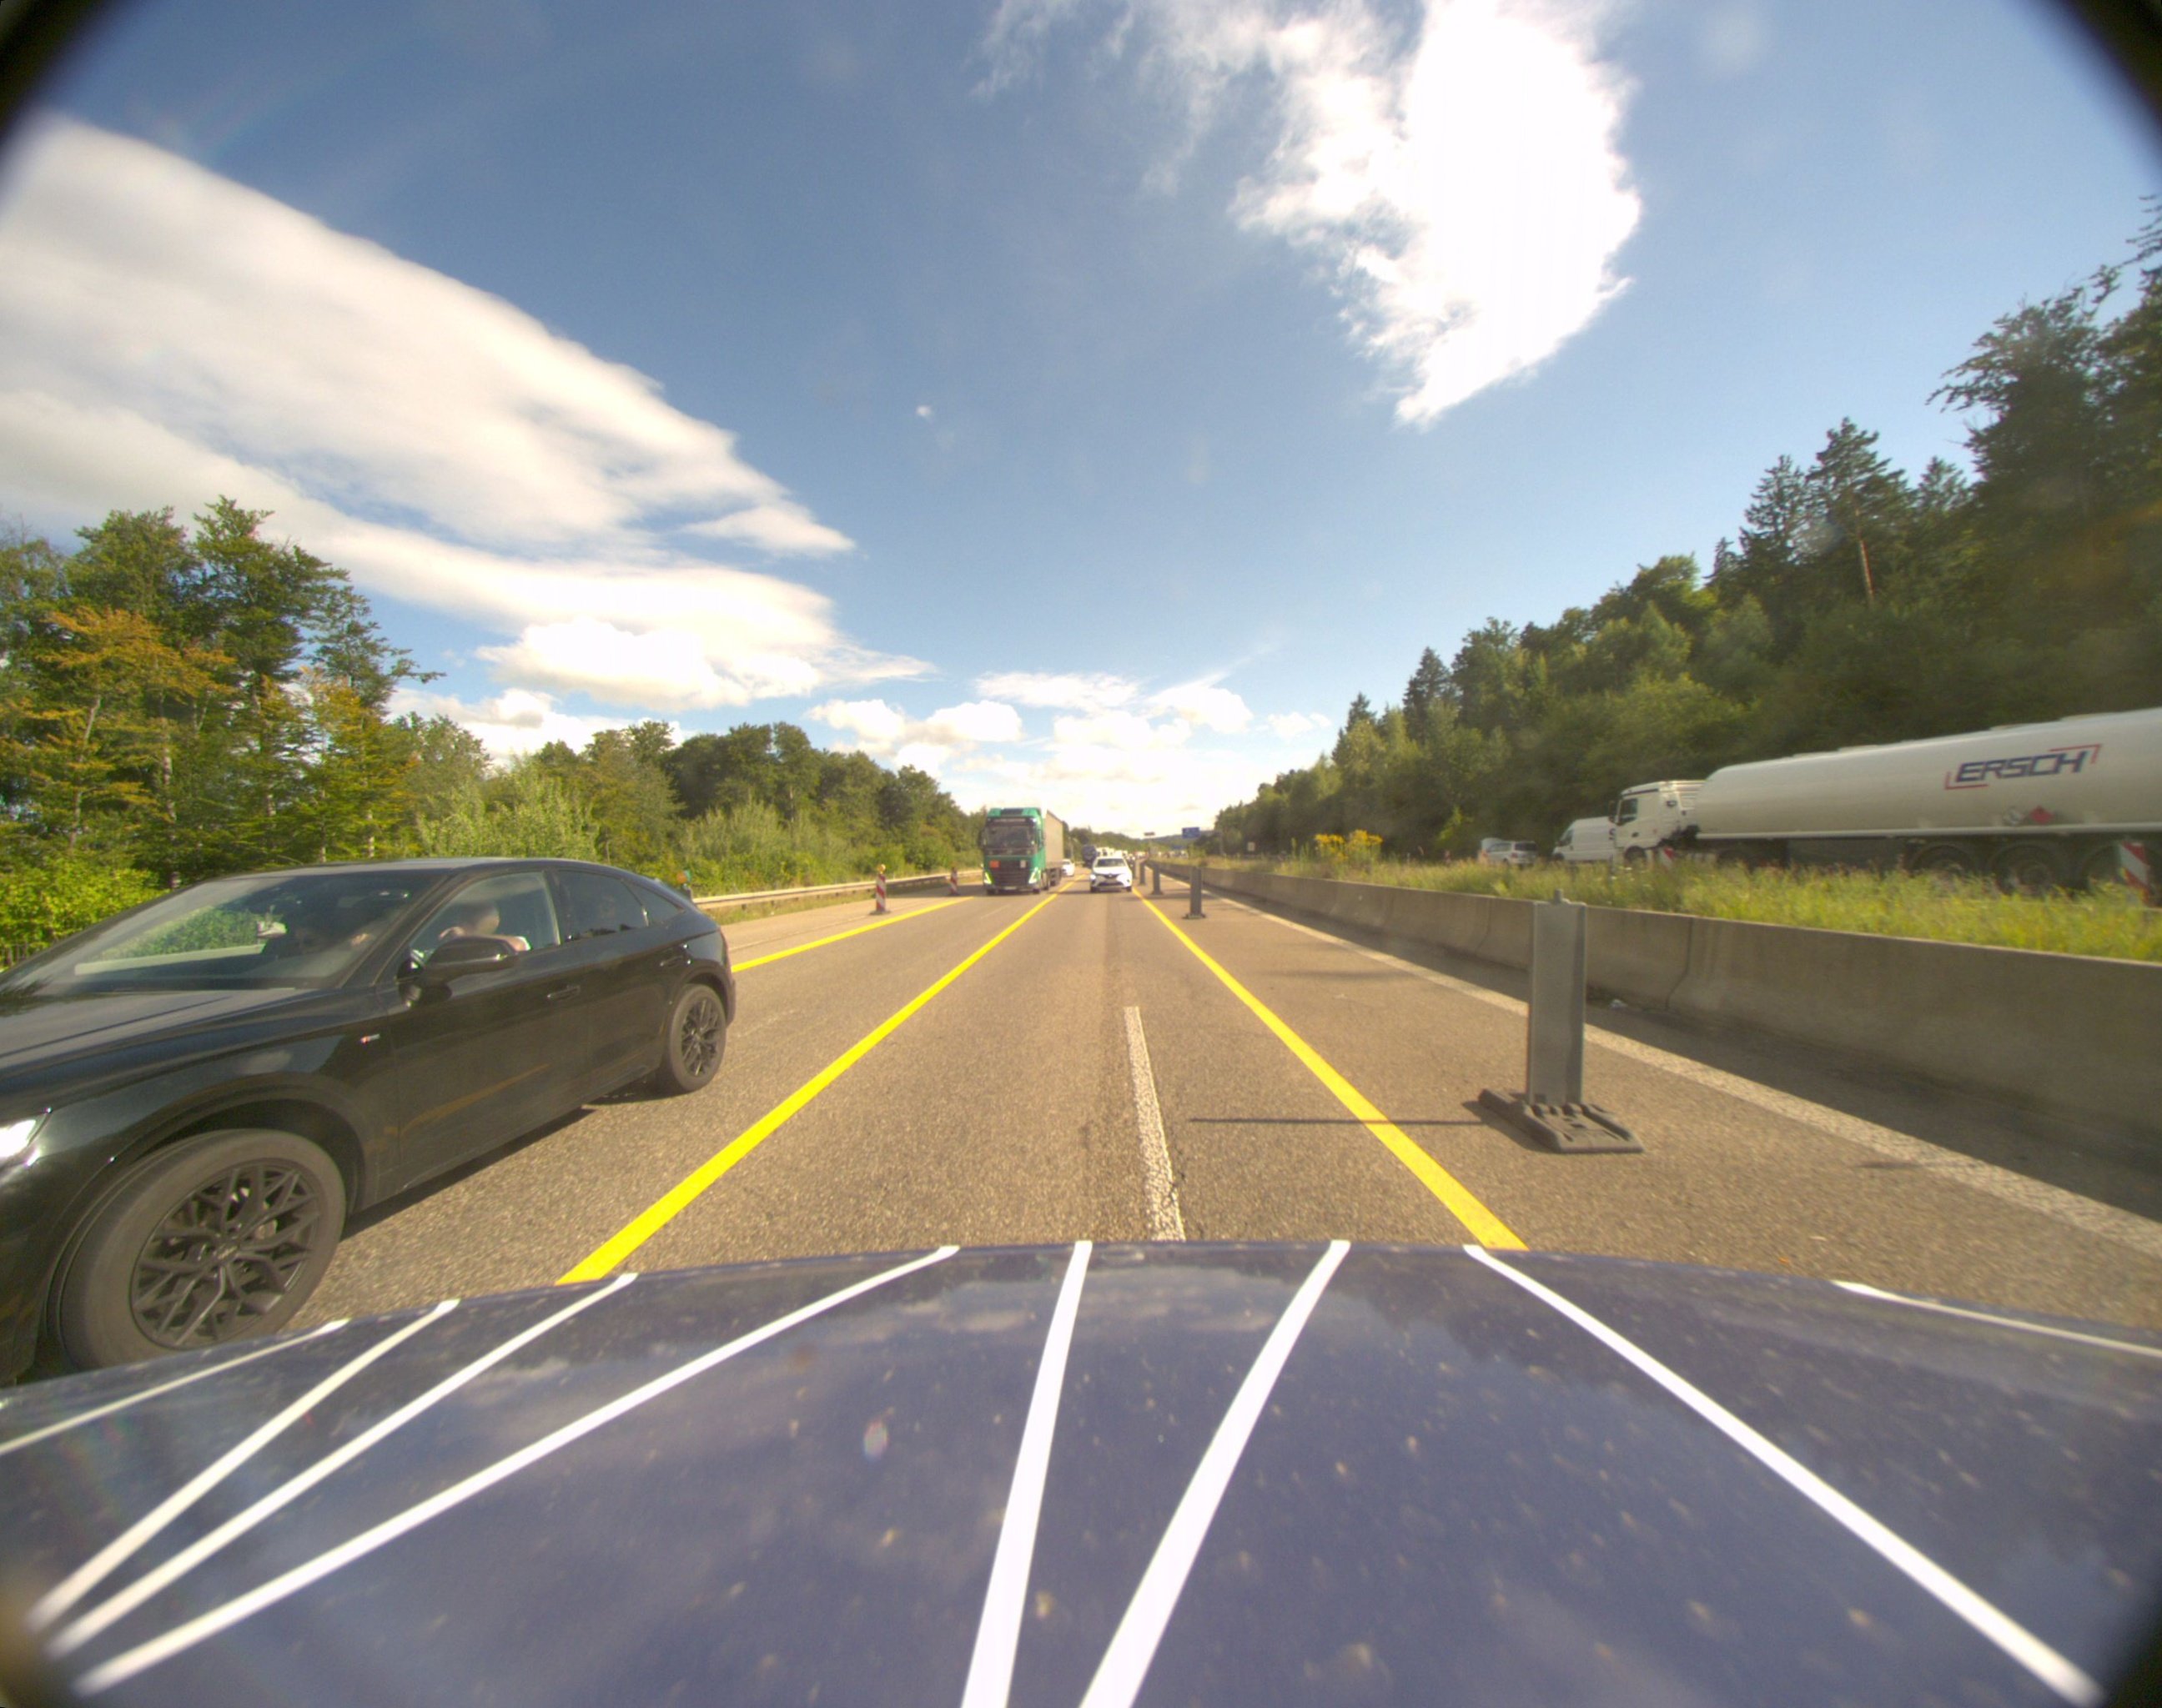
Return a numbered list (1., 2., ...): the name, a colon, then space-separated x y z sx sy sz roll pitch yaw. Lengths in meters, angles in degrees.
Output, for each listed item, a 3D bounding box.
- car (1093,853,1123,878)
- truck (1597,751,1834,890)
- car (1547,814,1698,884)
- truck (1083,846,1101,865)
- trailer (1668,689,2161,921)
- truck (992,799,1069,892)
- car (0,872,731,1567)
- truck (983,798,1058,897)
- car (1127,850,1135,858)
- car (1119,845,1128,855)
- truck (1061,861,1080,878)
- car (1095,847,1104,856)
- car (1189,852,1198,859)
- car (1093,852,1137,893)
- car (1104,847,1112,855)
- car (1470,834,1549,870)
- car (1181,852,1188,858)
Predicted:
1. car: 1.751 0.721 49.004 1.782 1.468 4.018 -2 0 3
2. truck: 18.025 -0.867 22.055 2.791 3.469 4.939 -2 1 3
3. car: 23.057 -0.217 32.792 2.032 2.669 6.523 -2 1 3
4. truck: 1.924 0.235 130.774 2.576 3.167 6.804 -2 1 5
5. trailer: 17.775 -0.818 15.810 2.808 3.469 11.113 -2 0 2
6. truck: -2.413 -0.343 41.691 2.470 4.119 14.213 -2 0 2
7. car: -3.554 0.982 3.480 1.782 1.593 4.293 -2 0 1
8. truck: -2.677 -0.301 35.642 2.527 4.075 6.857 -2 1 2
9. car: 13.559 0.049 205.870 1.998 2.002 4.001 -2 1 5
10. car: 9.755 -0.934 174.741 1.998 2.002 4.000 -2 1 3
11. truck: -0.874 1.298 64.354 1.467 1.215 3.087 -2 0 0
12. car: 3.987 -0.626 163.361 1.750 1.787 4.000 -2 1 2
13. car: 30.383 0.481 205.384 1.782 1.775 4.365 -2 1 3
14. car: 1.519 0.770 33.740 1.782 1.593 4.018 -2 0 3
15. car: 6.617 -0.817 186.431 1.750 1.787 4.000 -2 1 2
16. car: 24.111 -0.127 42.974 1.865 1.843 4.762 -2 0 3
17. car: 34.213 0.205 250.789 1.782 1.775 4.365 -2 1 3
